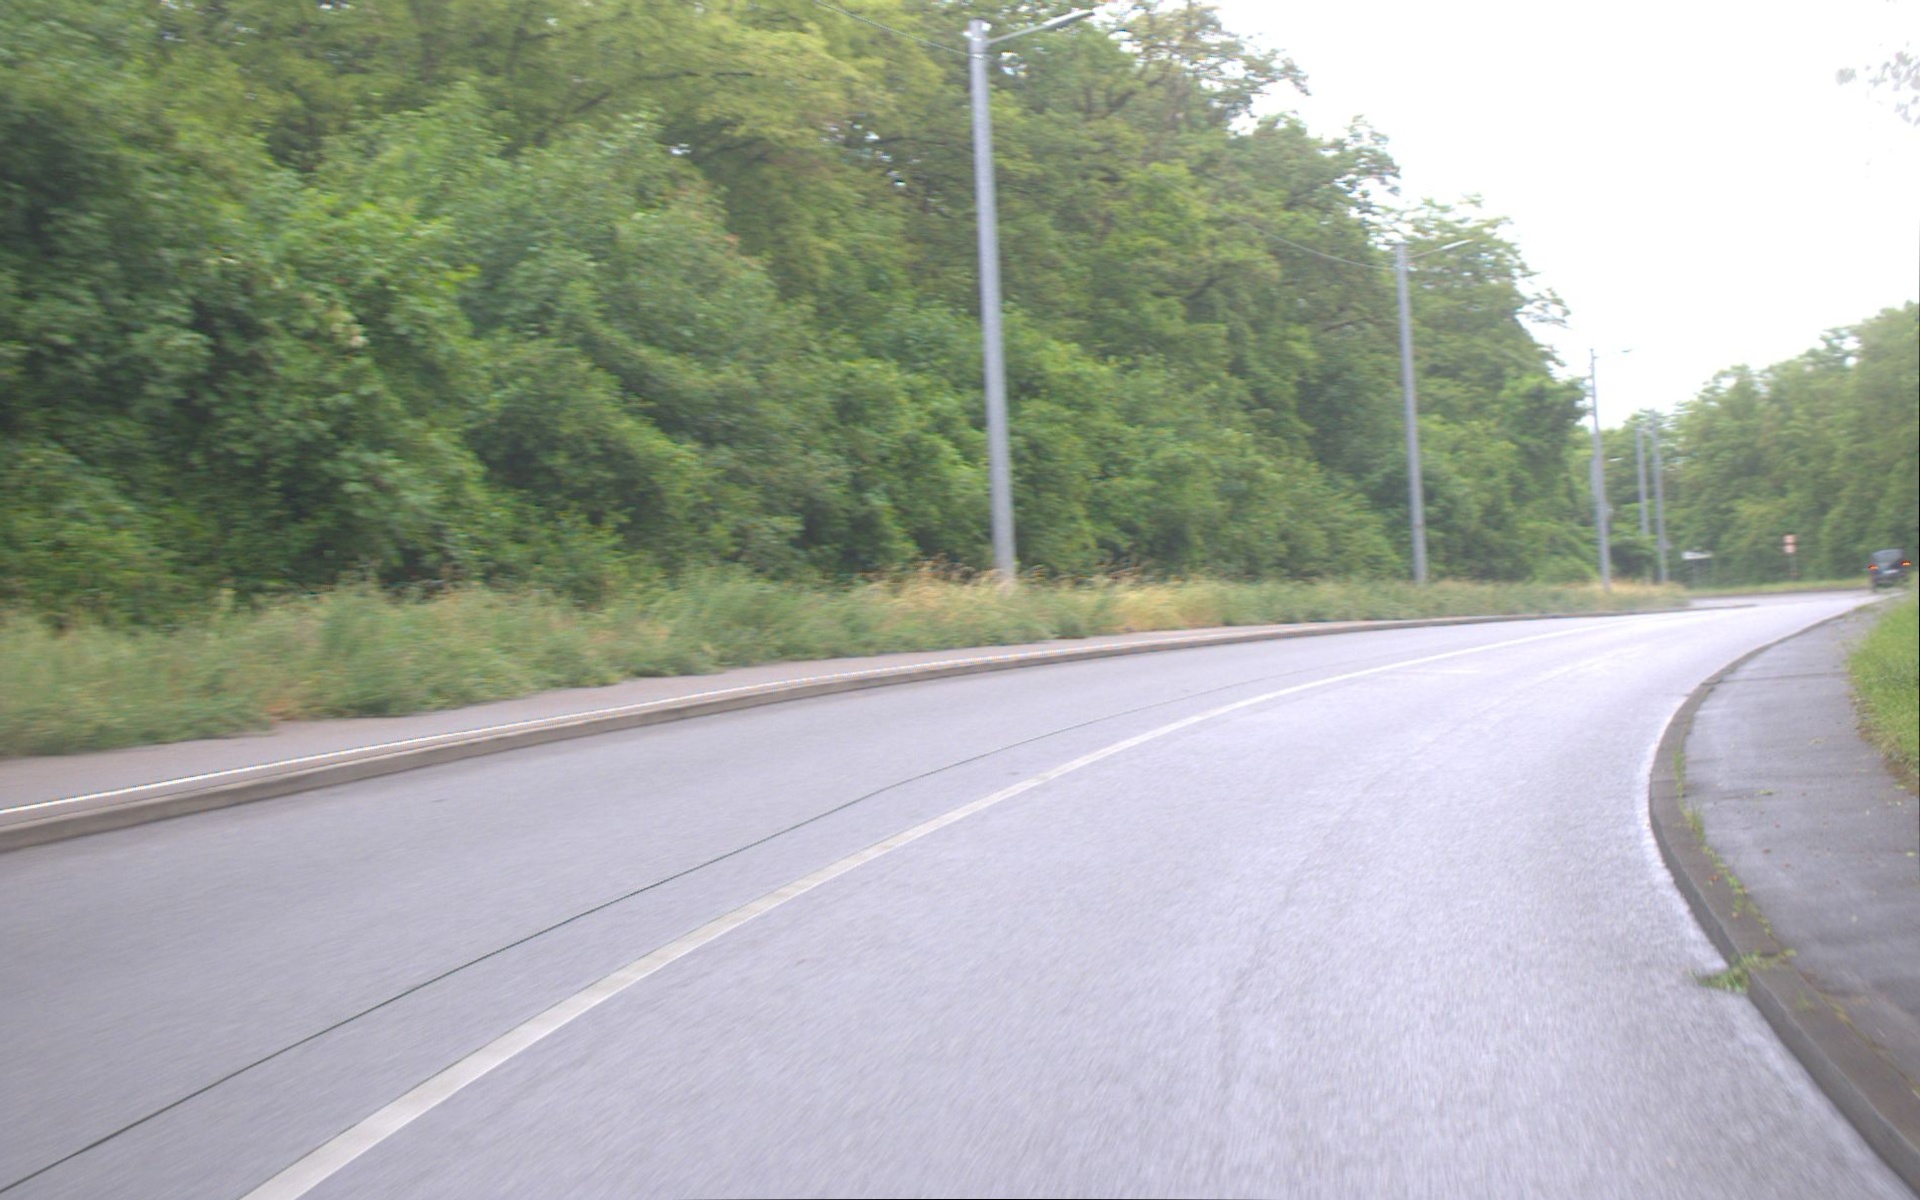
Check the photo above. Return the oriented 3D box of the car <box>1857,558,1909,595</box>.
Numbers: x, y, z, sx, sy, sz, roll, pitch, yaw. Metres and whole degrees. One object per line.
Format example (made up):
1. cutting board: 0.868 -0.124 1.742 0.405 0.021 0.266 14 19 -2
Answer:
1. car: 41.116 -1.027 153.176 1.868 1.590 3.998 1 0 10
